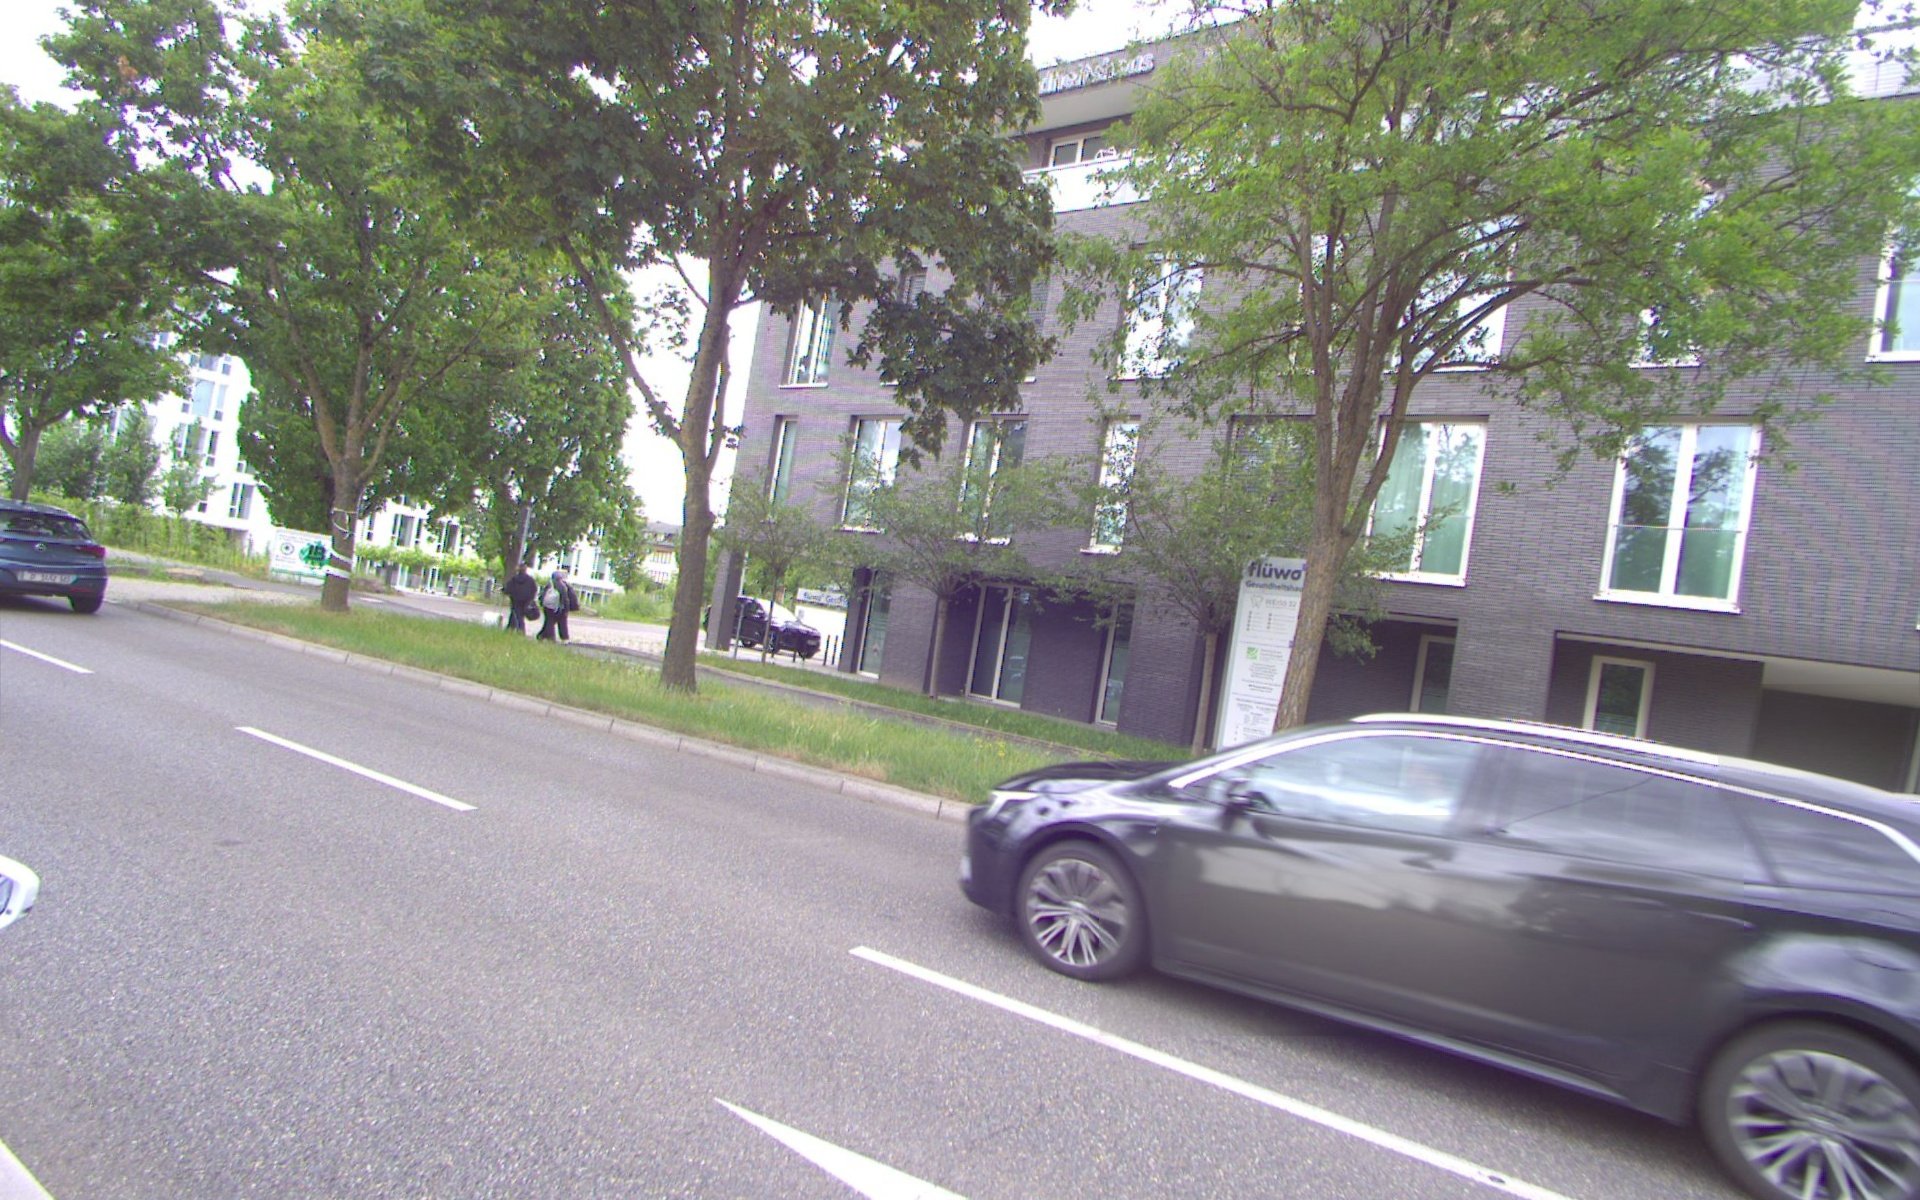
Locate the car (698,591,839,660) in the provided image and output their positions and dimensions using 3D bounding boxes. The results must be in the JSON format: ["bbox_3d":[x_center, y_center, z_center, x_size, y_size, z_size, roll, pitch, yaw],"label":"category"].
[{"bbox_3d":[-6.047,0.800,31.677,4.112,1.569,1.828,7,-2,34],"label":"car"}]

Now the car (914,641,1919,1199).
[{"bbox_3d":[2.155,1.228,4.564,4.347,1.465,1.768,6,-2,31],"label":"car"}]

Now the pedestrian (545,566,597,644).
[{"bbox_3d":[-8.467,0.113,21.909,0.732,1.570,0.589,7,-1,37],"label":"pedestrian"}]

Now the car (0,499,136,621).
[{"bbox_3d":[-13.928,-0.715,14.341,4.240,1.457,1.970,7,0,31],"label":"car"}]

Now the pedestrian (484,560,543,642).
[{"bbox_3d":[-9.195,0.021,20.718,0.578,1.570,0.726,7,-2,37],"label":"pedestrian"}]

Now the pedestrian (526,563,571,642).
[{"bbox_3d":[-8.651,0.052,21.171,0.553,1.567,0.410,5,-5,37],"label":"pedestrian"}]
